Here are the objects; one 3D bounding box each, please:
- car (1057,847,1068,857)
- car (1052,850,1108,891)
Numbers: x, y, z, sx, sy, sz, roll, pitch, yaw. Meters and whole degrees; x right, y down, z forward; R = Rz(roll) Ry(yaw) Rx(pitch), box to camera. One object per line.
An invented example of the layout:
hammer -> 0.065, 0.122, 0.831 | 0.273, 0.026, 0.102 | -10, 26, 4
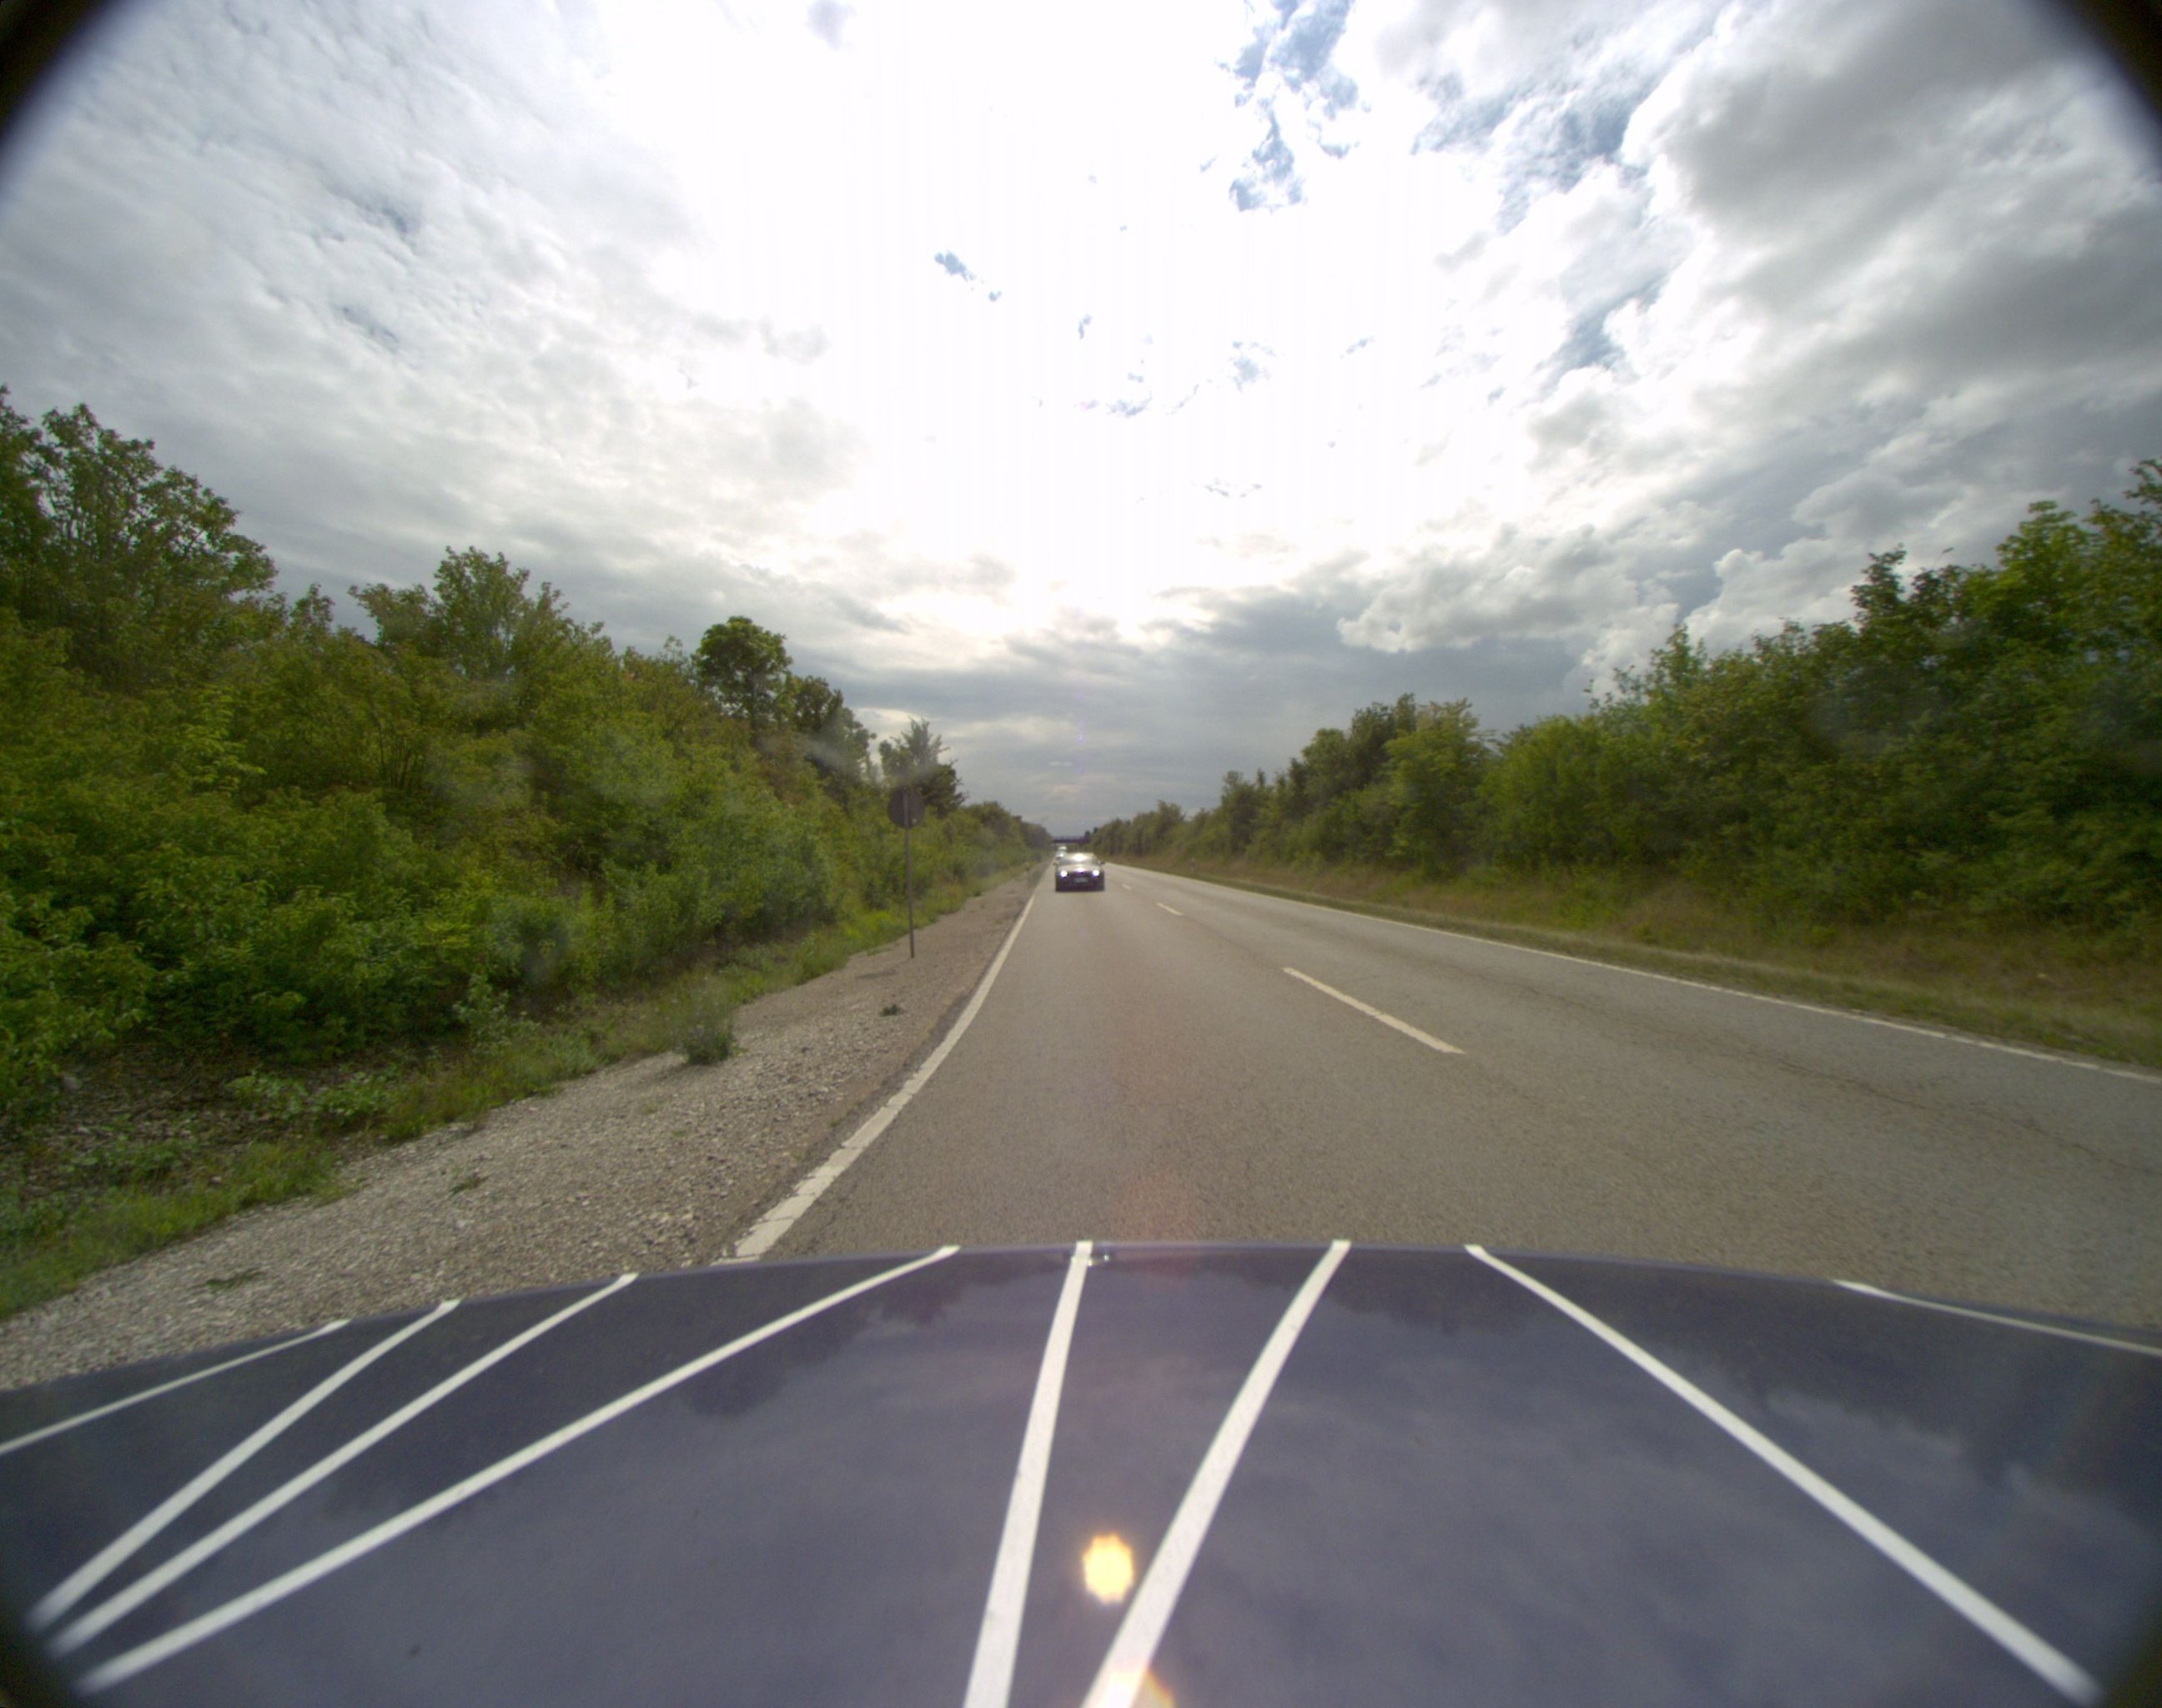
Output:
car -> -3.241, -0.372, 133.840 | 1.871, 1.597, 3.999 | -1, 1, -2
car -> -0.113, 0.596, 30.269 | 1.999, 1.436, 4.639 | -2, 1, -2
